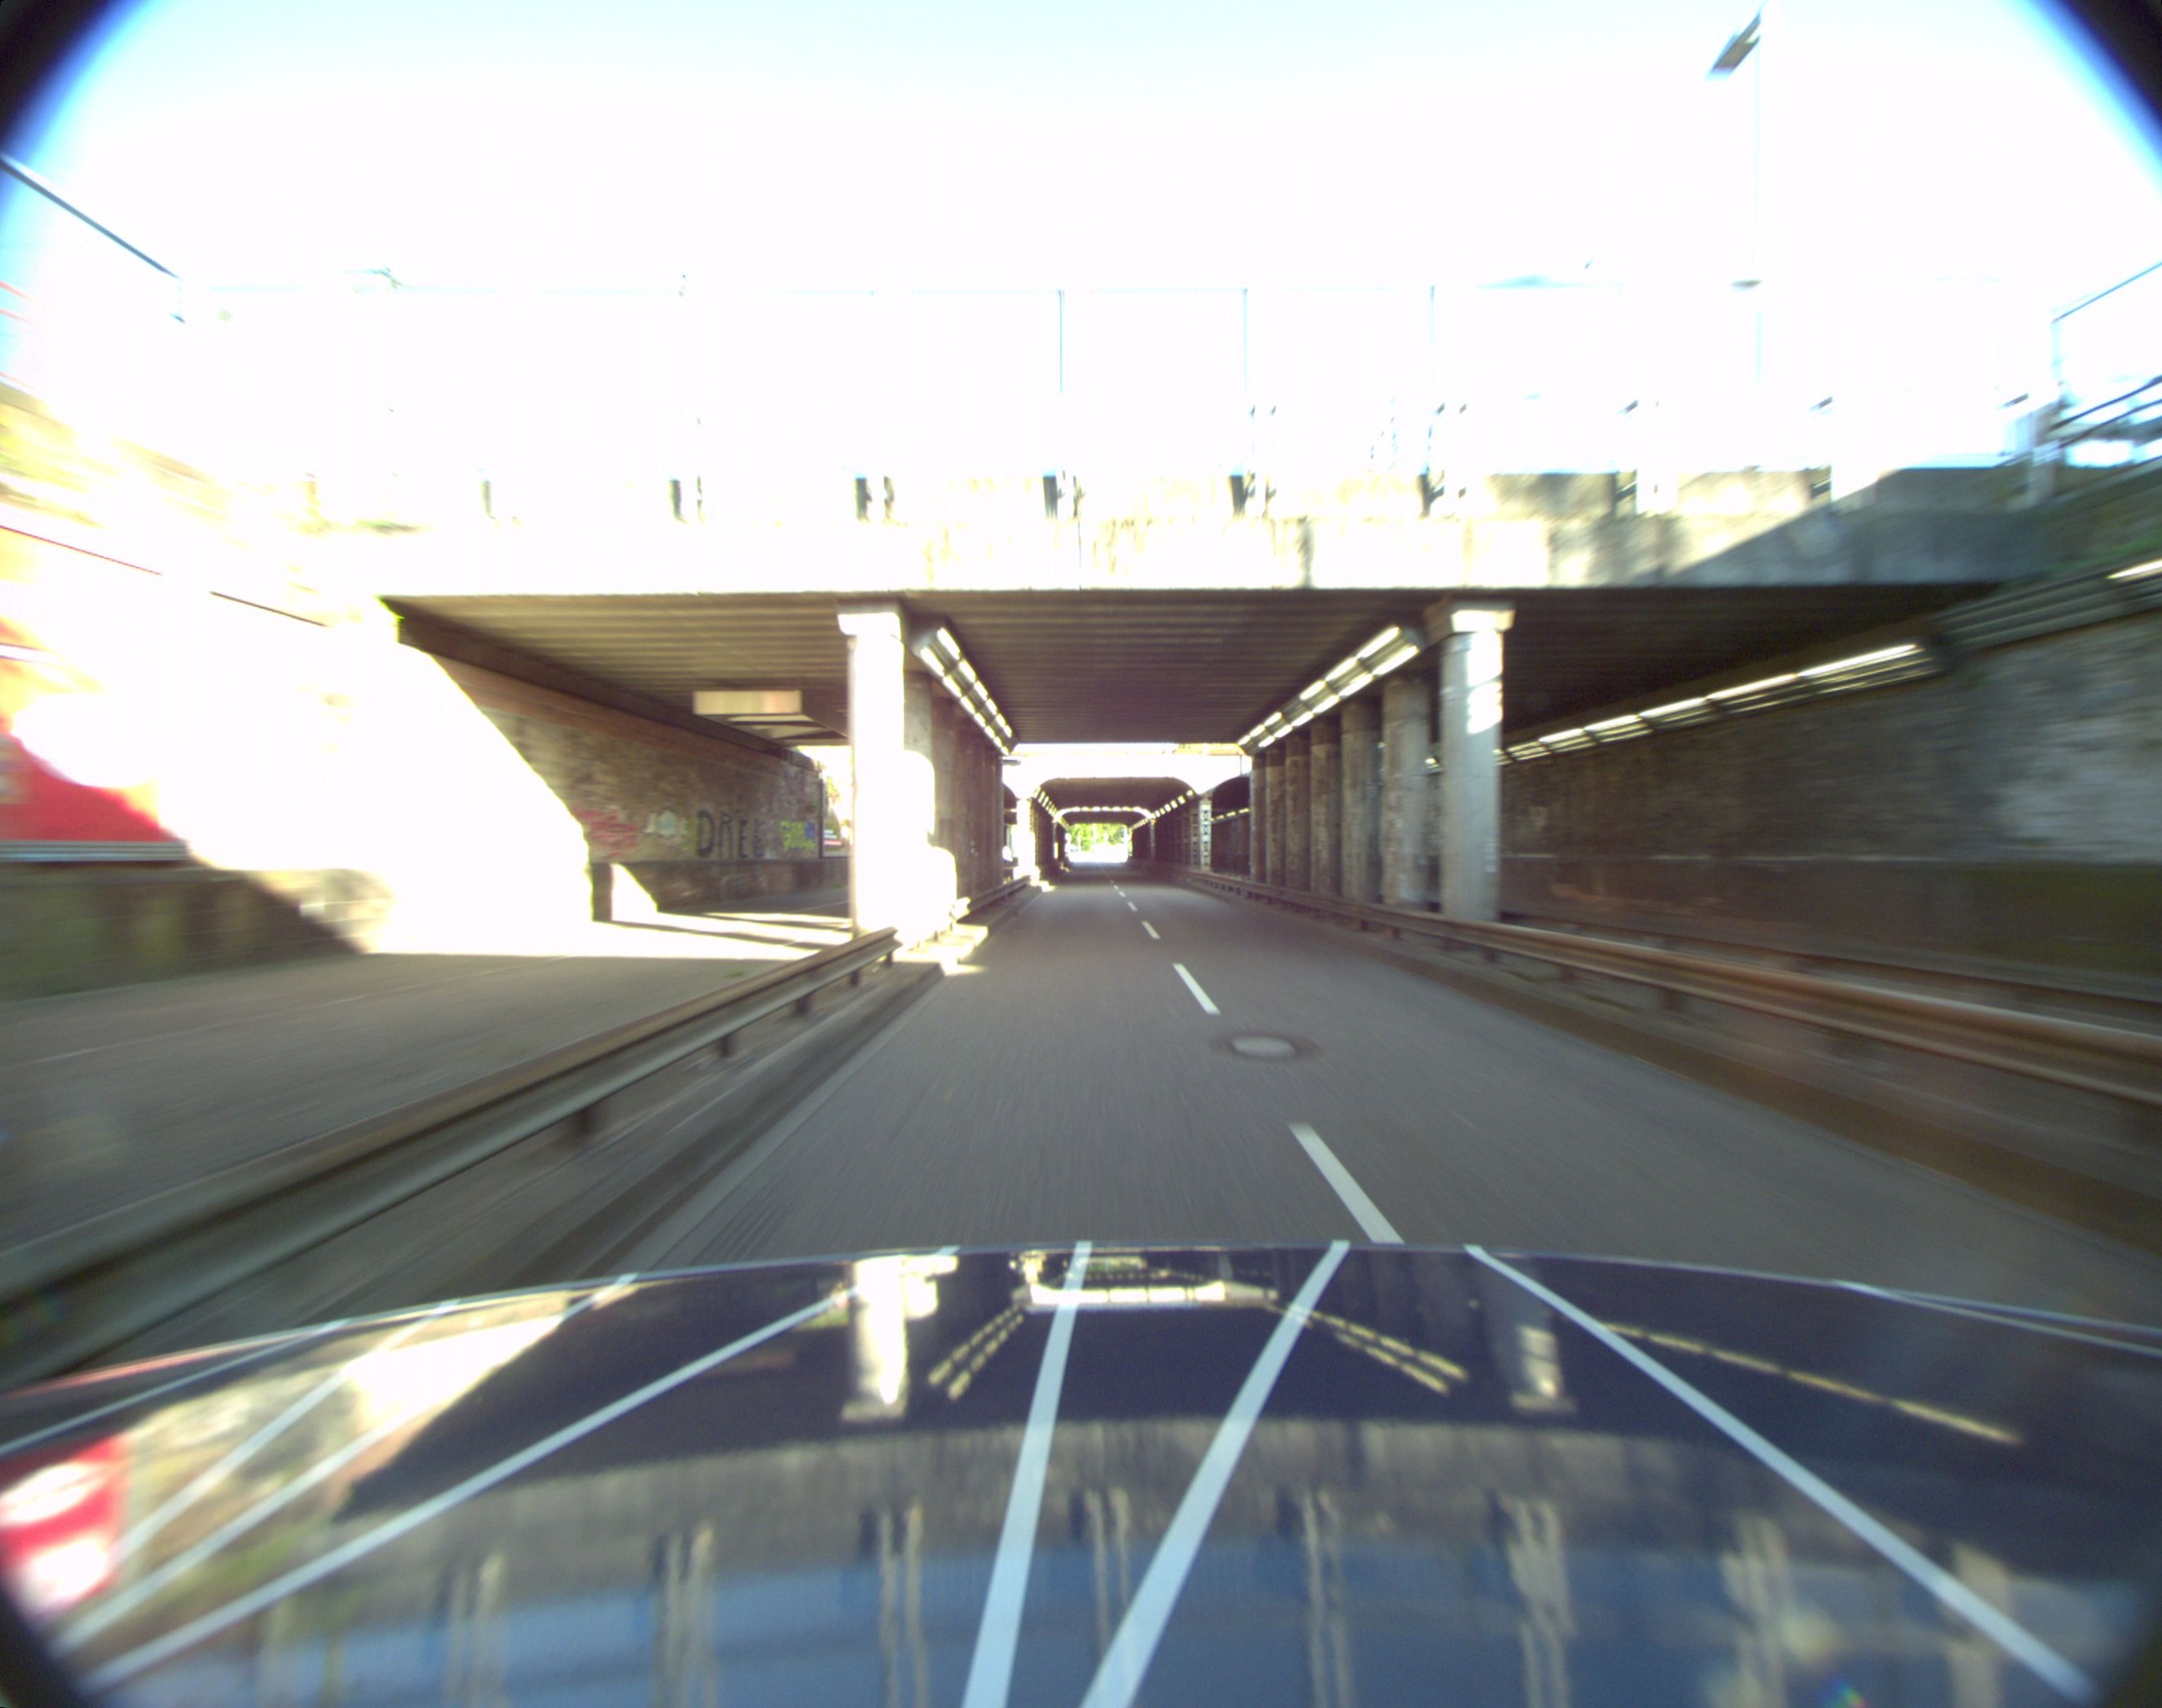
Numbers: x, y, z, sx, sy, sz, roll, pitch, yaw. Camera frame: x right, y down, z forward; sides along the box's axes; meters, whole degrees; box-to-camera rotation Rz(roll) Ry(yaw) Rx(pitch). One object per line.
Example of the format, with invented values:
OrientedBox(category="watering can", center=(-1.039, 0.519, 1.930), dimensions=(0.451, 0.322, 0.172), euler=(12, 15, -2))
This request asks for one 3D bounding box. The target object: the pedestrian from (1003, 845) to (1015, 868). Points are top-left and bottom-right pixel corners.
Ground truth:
OrientedBox(category="pedestrian", center=(-5.971, 0.210, 62.727), dimensions=(0.882, 1.824, 0.922), euler=(2, 1, -2))
